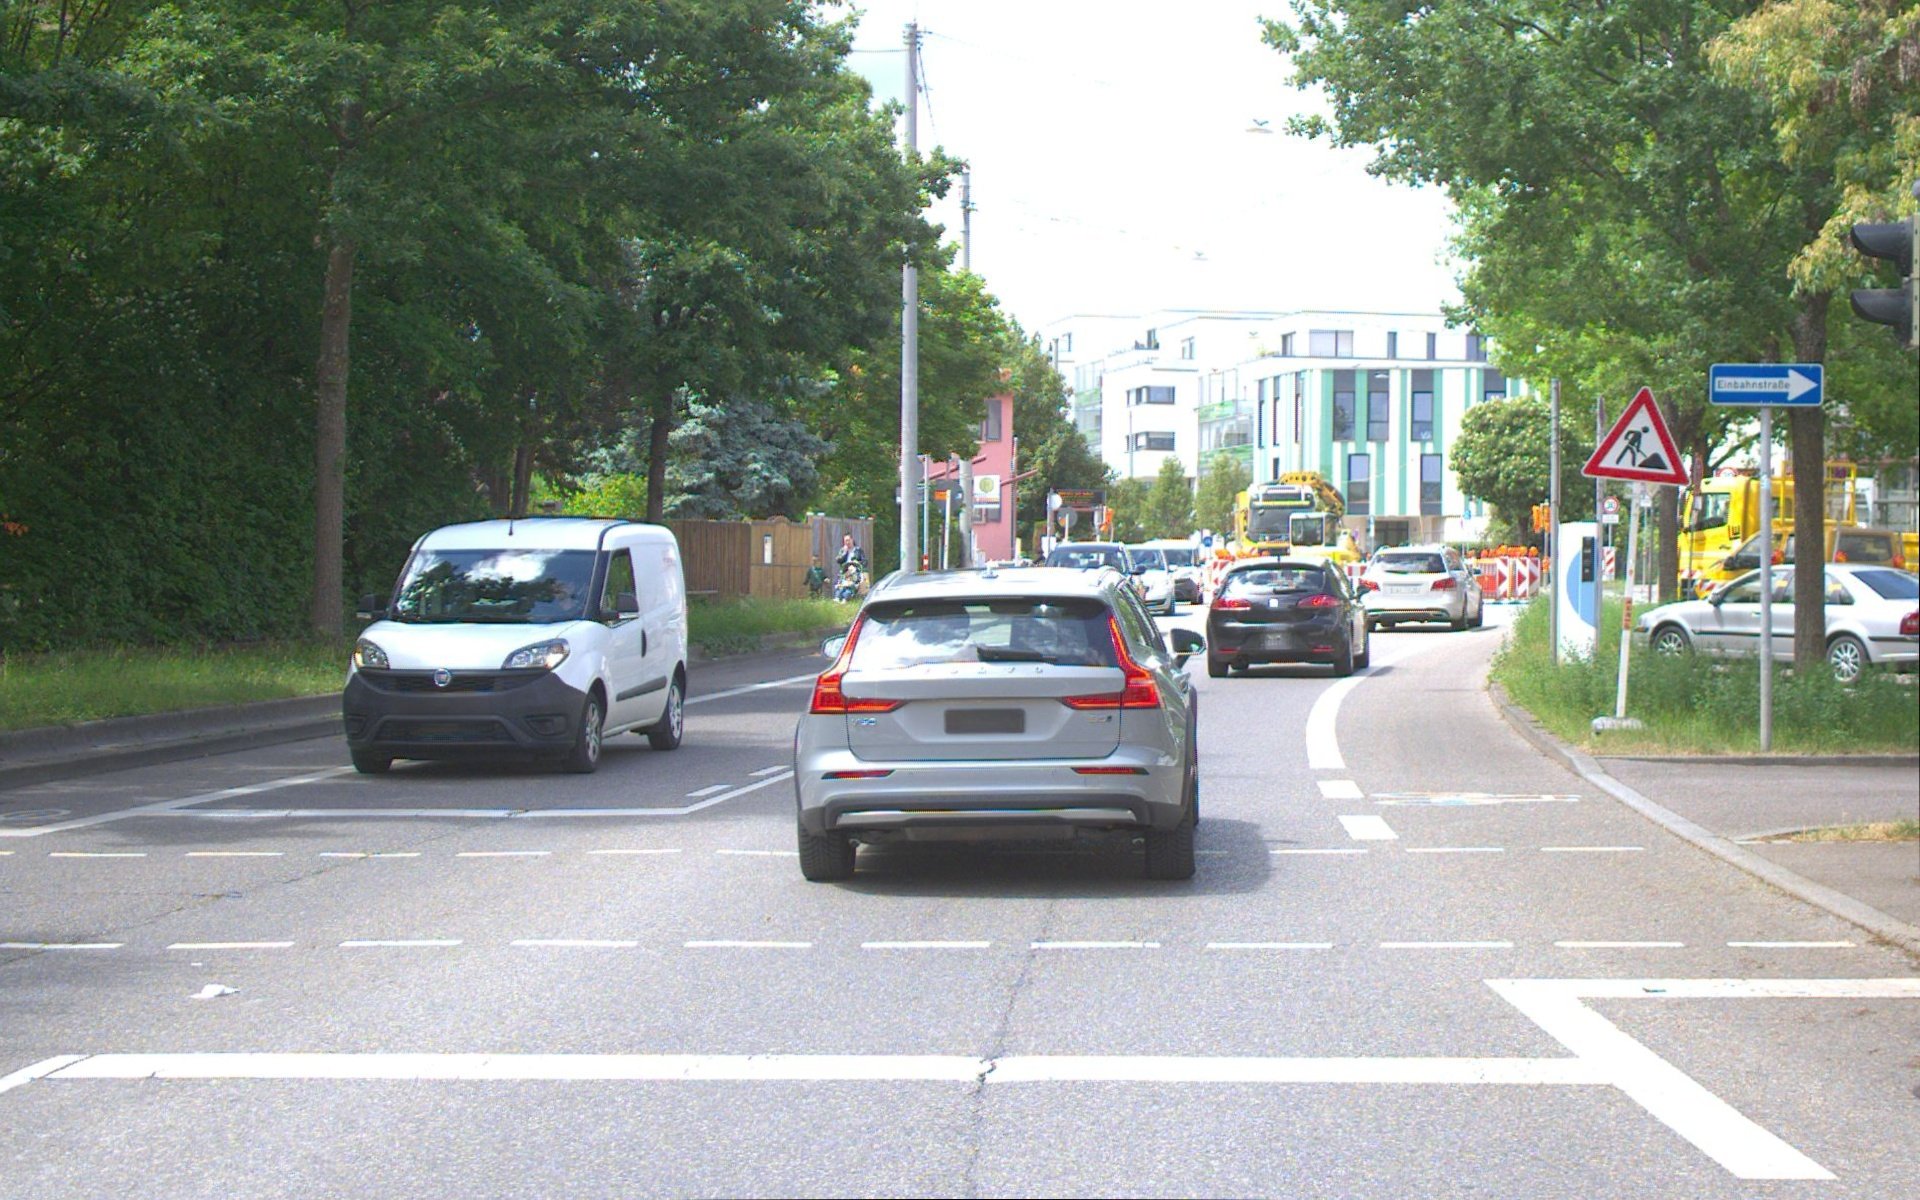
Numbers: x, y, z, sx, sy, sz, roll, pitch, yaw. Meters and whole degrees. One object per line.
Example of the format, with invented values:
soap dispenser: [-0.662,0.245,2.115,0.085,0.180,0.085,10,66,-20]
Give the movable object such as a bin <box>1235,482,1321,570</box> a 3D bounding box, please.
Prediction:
movable object such as a bin: [10.960,-2.549,119.051,2.310,2.980,6.427,0,1,-1]

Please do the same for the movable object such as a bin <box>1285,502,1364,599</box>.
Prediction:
movable object such as a bin: [10.223,-1.393,96.105,2.035,2.634,5.938,0,1,7]

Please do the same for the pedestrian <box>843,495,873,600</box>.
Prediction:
pedestrian: [-1.975,-1.018,66.704,0.402,2.007,0.414,3,0,10]

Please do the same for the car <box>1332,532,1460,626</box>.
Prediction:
car: [7.671,-0.346,60.652,2.103,1.505,3.999,3,0,7]

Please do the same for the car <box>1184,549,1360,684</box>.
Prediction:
car: [3.762,0.185,41.958,1.661,1.503,3.702,-3,0,-1]

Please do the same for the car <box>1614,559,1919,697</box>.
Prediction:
car: [10.213,0.303,41.244,1.762,1.447,4.689,1,1,-36]

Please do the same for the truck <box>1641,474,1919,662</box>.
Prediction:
truck: [15.066,-0.519,57.976,2.761,2.998,6.705,3,0,-38]

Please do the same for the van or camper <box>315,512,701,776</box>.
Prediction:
van or camper: [-3.251,0.263,25.596,1.861,1.770,4.379,1,1,6]

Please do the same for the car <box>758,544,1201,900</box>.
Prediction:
car: [0.175,0.528,17.217,1.928,1.535,4.000,-1,0,3]

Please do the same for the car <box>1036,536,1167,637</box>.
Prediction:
car: [2.515,-0.260,60.232,1.880,1.681,4.246,-1,1,8]

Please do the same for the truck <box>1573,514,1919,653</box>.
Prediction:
truck: [12.900,-0.298,56.141,1.994,2.007,5.676,3,0,-39]
